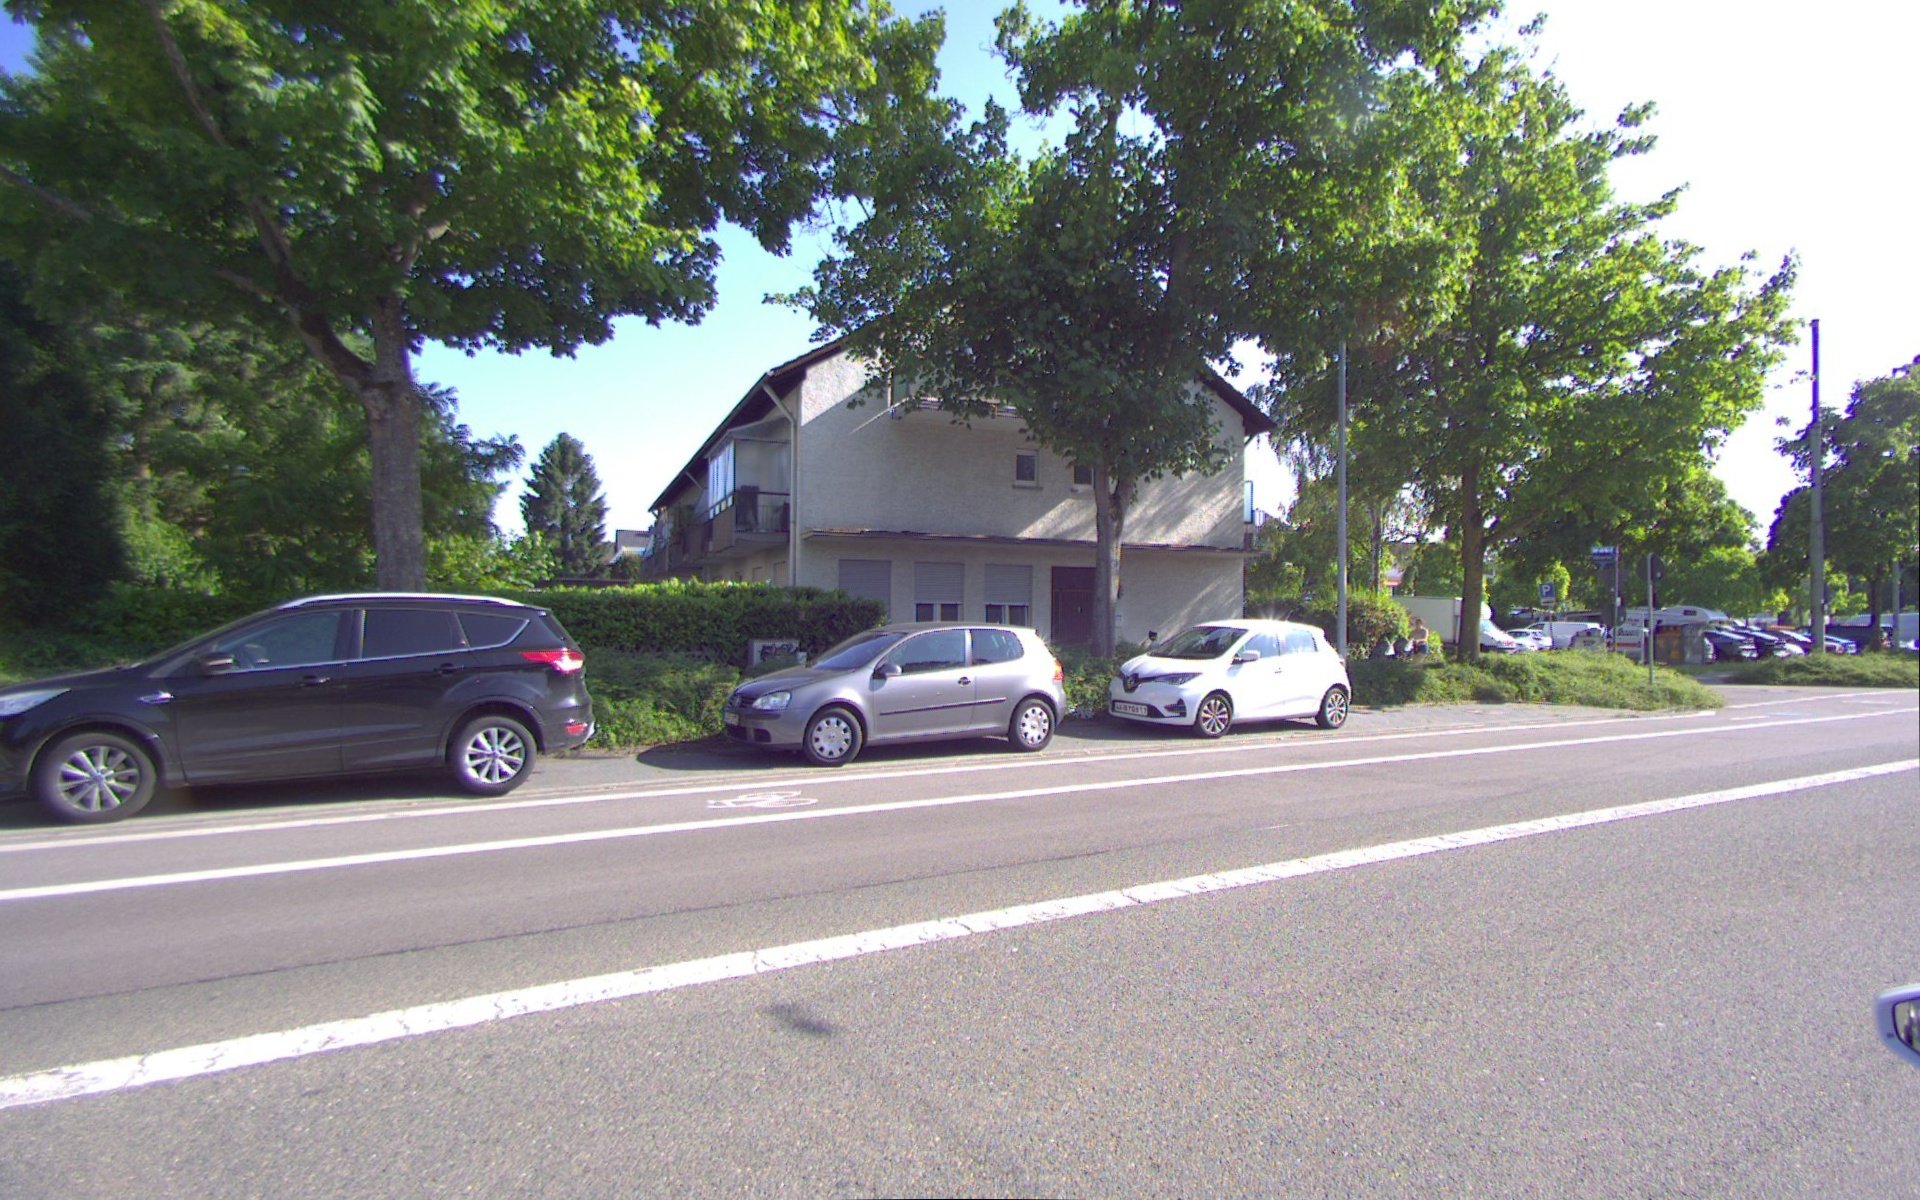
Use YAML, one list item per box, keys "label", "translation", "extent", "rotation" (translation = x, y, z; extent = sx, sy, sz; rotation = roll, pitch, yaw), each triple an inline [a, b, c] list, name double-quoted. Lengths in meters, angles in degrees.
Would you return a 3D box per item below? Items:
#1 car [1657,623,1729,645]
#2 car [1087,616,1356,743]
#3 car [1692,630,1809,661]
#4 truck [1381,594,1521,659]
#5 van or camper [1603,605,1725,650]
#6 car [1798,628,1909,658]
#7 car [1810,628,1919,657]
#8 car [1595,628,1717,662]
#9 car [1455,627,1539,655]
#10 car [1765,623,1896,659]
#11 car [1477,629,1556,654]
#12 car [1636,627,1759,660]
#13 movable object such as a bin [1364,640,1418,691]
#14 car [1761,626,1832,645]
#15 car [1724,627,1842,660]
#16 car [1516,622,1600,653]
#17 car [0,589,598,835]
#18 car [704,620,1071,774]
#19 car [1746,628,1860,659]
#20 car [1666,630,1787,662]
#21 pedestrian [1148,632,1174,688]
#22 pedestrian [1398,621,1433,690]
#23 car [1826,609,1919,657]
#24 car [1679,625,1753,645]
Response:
- label: "car"
  translation: [50.527, 2.315, 69.314]
  extent: [1.719, 1.416, 3.642]
  rotation: [1, -1, -33]
- label: "car"
  translation: [3.842, 1.059, 14.554]
  extent: [3.853, 1.571, 1.591]
  rotation: [1, 1, -33]
- label: "car"
  translation: [36.641, 2.074, 46.665]
  extent: [1.719, 1.324, 3.964]
  rotation: [1, -1, -33]
- label: "truck"
  translation: [26.627, 1.426, 54.772]
  extent: [1.965, 3.285, 6.926]
  rotation: [1, -1, -31]
- label: "van or camper"
  translation: [47.609, 1.786, 68.134]
  extent: [2.279, 2.906, 6.436]
  rotation: [1, -1, -29]
- label: "car"
  translation: [45.496, 2.170, 51.219]
  extent: [1.719, 1.416, 3.964]
  rotation: [1, -1, -33]
- label: "car"
  translation: [47.348, 2.209, 52.675]
  extent: [1.719, 1.416, 3.964]
  rotation: [1, -1, -33]
- label: "car"
  translation: [29.494, 1.887, 42.671]
  extent: [1.719, 1.324, 3.964]
  rotation: [1, -1, -33]
- label: "car"
  translation: [30.741, 2.313, 57.585]
  extent: [1.719, 1.477, 3.964]
  rotation: [1, -1, -33]
- label: "car"
  translation: [43.304, 1.993, 50.079]
  extent: [2.026, 1.673, 4.594]
  rotation: [1, -1, -31]
- label: "car"
  translation: [32.860, 2.416, 59.417]
  extent: [1.604, 1.379, 3.976]
  rotation: [1, -1, -24]
- label: "car"
  translation: [31.801, 1.857, 43.427]
  extent: [1.719, 1.324, 3.964]
  rotation: [1, -1, -33]
- label: "movable object such as a bin"
  translation: [10.242, 1.550, 23.859]
  extent: [1.246, 1.161, 0.539]
  rotation: [1, -1, -30]
- label: "car"
  translation: [64.970, 2.728, 78.071]
  extent: [1.719, 1.416, 3.964]
  rotation: [1, -1, -33]
- label: "car"
  translation: [38.748, 2.020, 47.380]
  extent: [1.719, 1.416, 3.964]
  rotation: [1, -1, -33]
- label: "car"
  translation: [35.411, 2.213, 59.553]
  extent: [1.611, 1.751, 3.959]
  rotation: [1, -1, -36]
- label: "car"
  translation: [-5.566, 0.816, 8.665]
  extent: [4.370, 1.716, 1.704]
  rotation: [1, -1, -30]
- label: "car"
  translation: [-0.773, 1.001, 11.613]
  extent: [3.925, 1.488, 1.667]
  rotation: [1, -1, -33]
- label: "car"
  translation: [41.135, 2.076, 49.119]
  extent: [1.719, 1.416, 3.964]
  rotation: [1, -1, -33]
- label: "car"
  translation: [34.028, 2.011, 44.687]
  extent: [1.719, 1.324, 3.964]
  rotation: [1, -1, -33]
- label: "pedestrian"
  translation: [4.258, 1.261, 21.279]
  extent: [0.440, 1.177, 0.345]
  rotation: [1, -1, -22]
- label: "pedestrian"
  translation: [11.044, 1.329, 24.341]
  extent: [0.603, 1.649, 0.522]
  rotation: [1, -1, -30]
- label: "car"
  translation: [50.246, 1.757, 53.879]
  extent: [2.062, 2.455, 5.351]
  rotation: [1, -1, -29]
- label: "car"
  translation: [54.560, 2.513, 72.569]
  extent: [1.719, 1.416, 3.964]
  rotation: [1, -1, -33]
